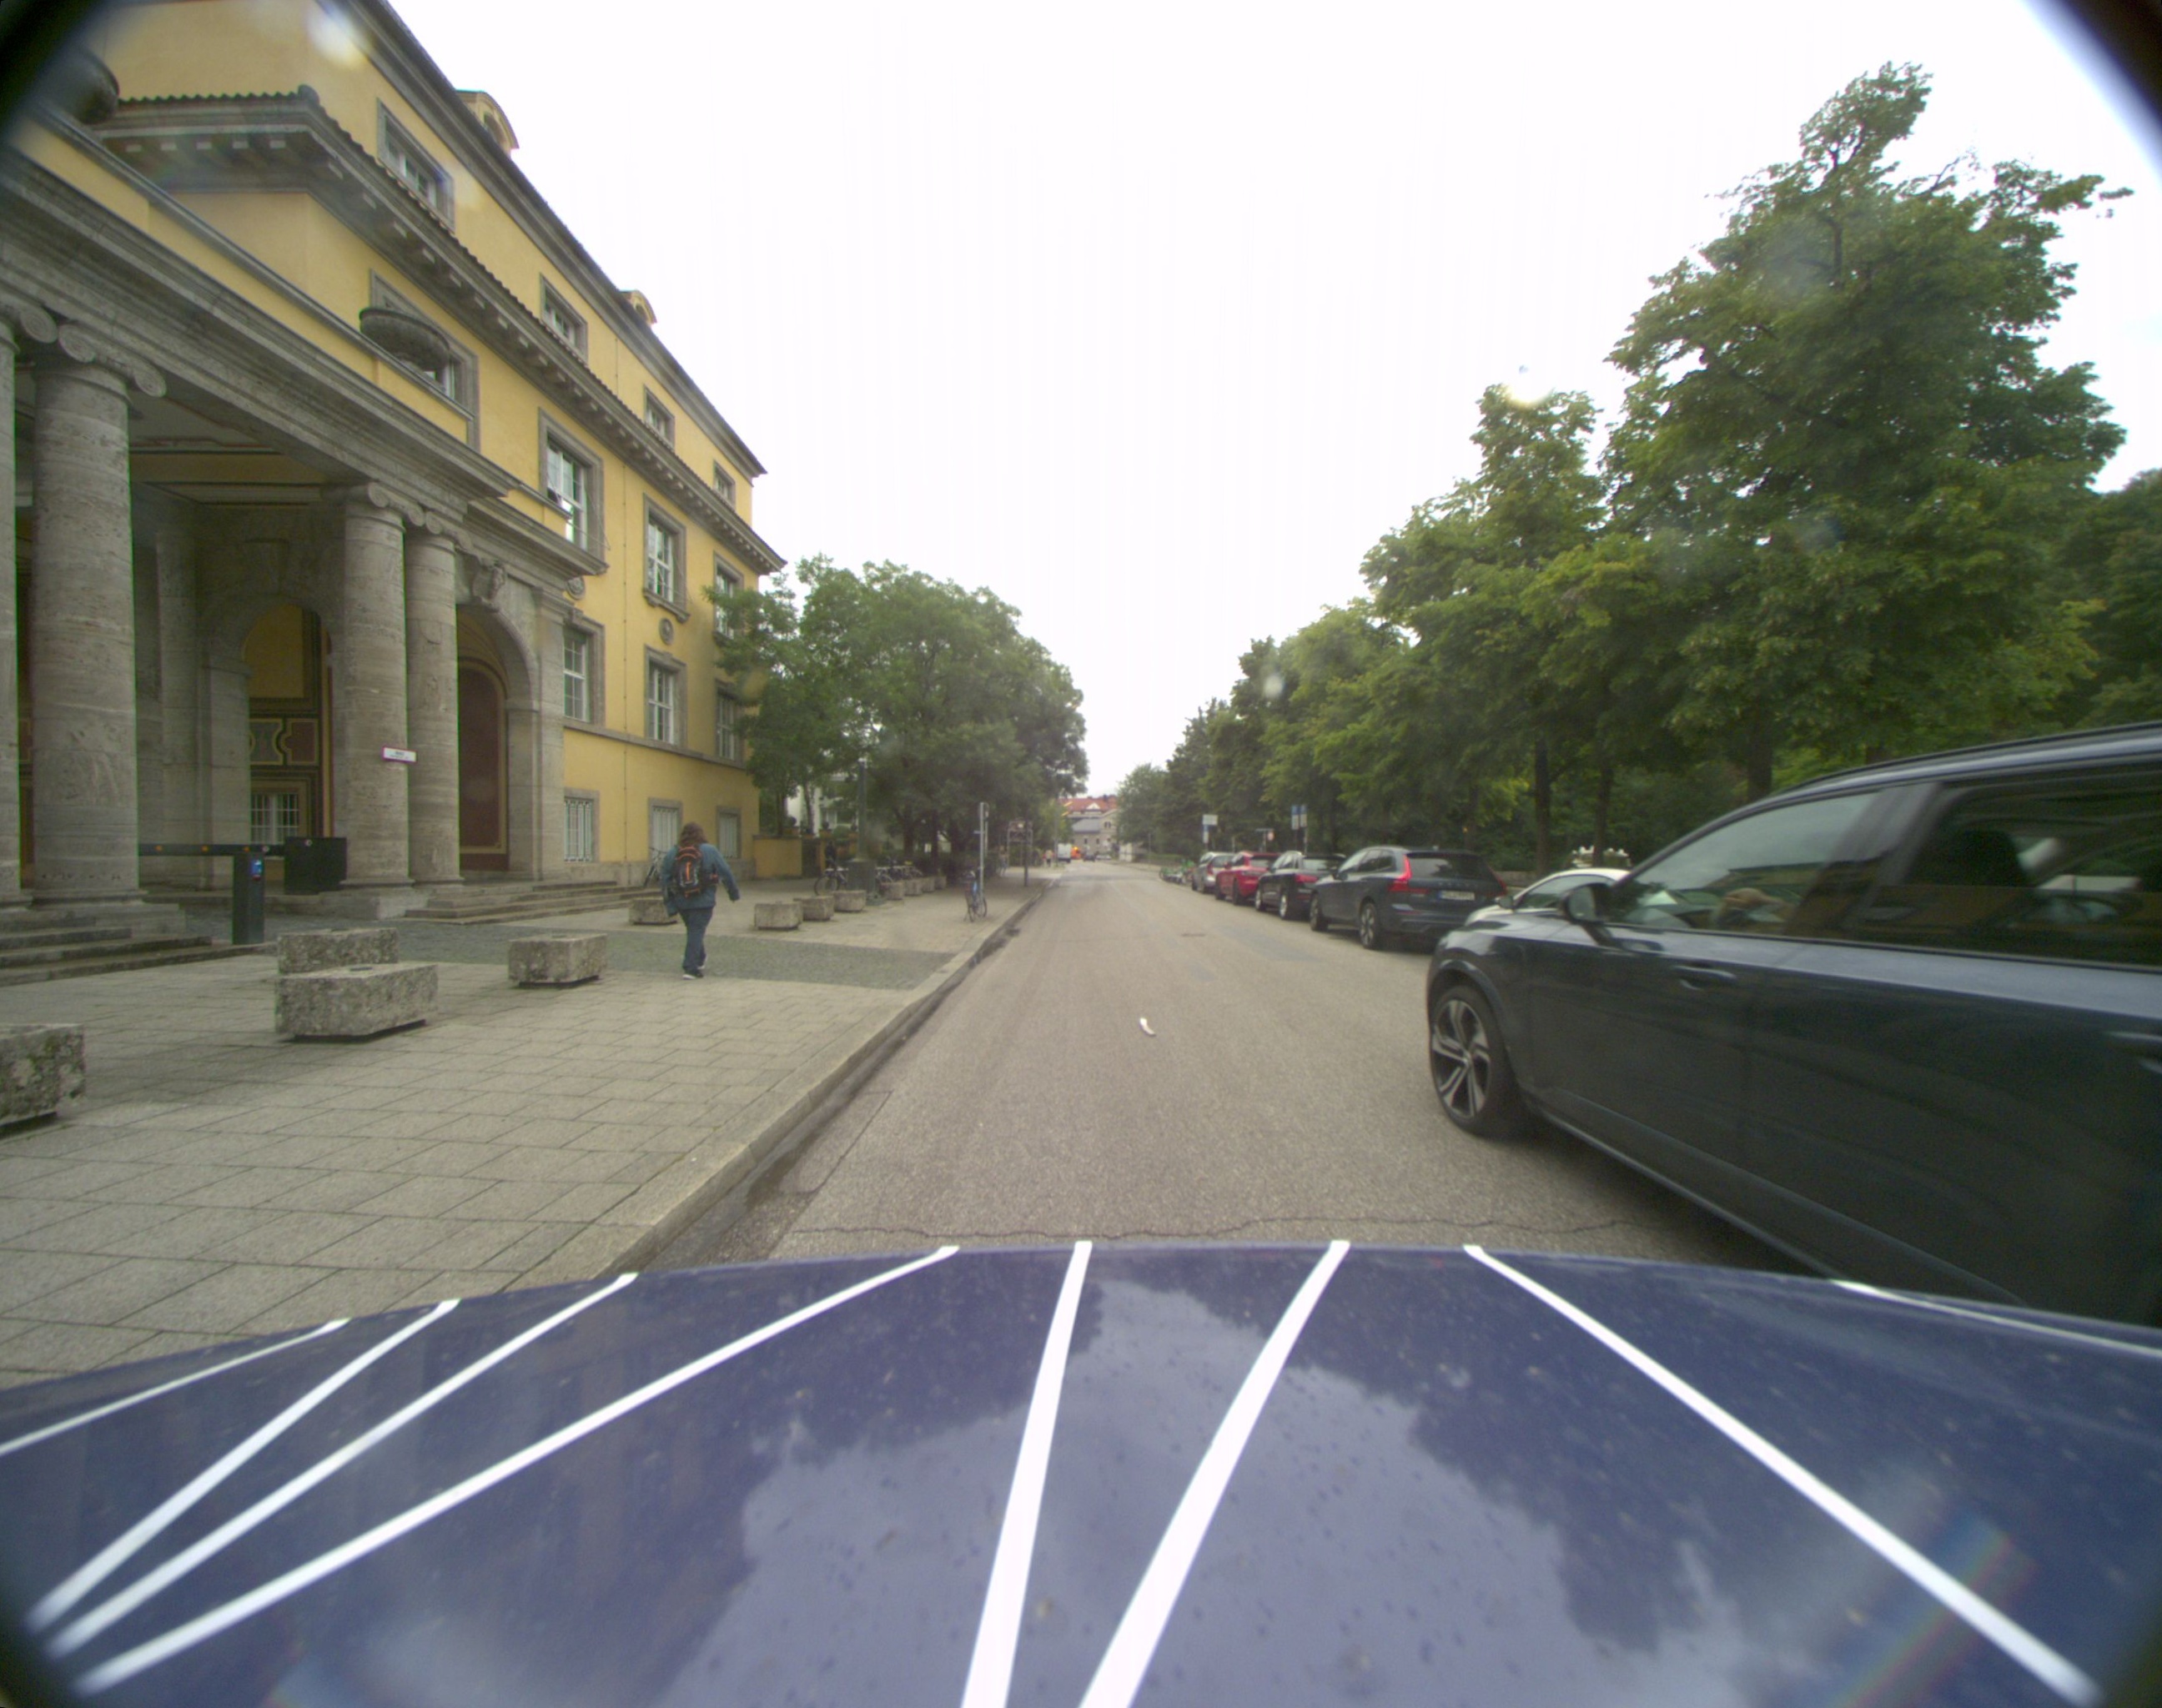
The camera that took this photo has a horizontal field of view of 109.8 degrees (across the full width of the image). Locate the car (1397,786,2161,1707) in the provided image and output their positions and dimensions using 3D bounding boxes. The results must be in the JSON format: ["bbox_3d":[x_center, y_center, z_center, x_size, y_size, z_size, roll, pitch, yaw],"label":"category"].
[{"bbox_3d":[2.906,0.741,2.204,1.965,1.672,4.912,2,1,1],"label":"car"}]

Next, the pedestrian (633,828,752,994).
[{"bbox_3d":[-4.312,0.598,8.508,0.790,1.736,1.055,1,1,0],"label":"pedestrian"}]

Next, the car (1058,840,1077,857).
[{"bbox_3d":[-1.853,-0.787,105.266,2.236,2.289,4.728,-3,1,-5],"label":"car"}]

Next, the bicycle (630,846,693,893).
[{"bbox_3d":[-12.331,0.417,22.421,0.601,1.299,2.264,1,1,0],"label":"bicycle"}]

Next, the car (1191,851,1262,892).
[{"bbox_3d":[5.627,0.620,29.937,1.998,1.452,4.364,1,0,1],"label":"car"}]

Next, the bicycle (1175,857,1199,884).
[{"bbox_3d":[5.137,0.793,36.745,0.574,1.275,1.421,-1,1,33],"label":"bicycle"}]

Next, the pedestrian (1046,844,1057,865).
[{"bbox_3d":[-2.613,0.049,66.941,0.777,1.855,0.997,-3,2,-6],"label":"pedestrian"}]

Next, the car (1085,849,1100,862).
[{"bbox_3d":[1.812,0.252,119.739,2.222,1.840,4.730,-3,1,0],"label":"car"}]

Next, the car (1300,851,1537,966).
[{"bbox_3d":[5.395,0.763,12.949,1.998,1.574,4.521,1,0,0],"label":"car"}]

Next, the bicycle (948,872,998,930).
[{"bbox_3d":[-2.353,0.991,16.762,0.762,1.094,2.263,2,1,-1],"label":"bicycle"}]

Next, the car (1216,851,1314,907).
[{"bbox_3d":[5.468,0.680,23.197,1.998,1.535,4.364,1,0,1],"label":"car"}]

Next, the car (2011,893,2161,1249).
[{"bbox_3d":[5.327,0.957,1.916,1.547,1.462,3.552,2,0,0],"label":"car"}]

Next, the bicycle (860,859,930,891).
[{"bbox_3d":[-6.545,0.740,26.765,2.262,1.005,0.602,2,0,3],"label":"bicycle"}]

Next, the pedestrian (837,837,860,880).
[{"bbox_3d":[-10.235,0.185,33.422,0.659,1.854,0.820,3,2,0],"label":"pedestrian"}]

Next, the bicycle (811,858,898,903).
[{"bbox_3d":[-6.464,0.756,21.785,2.265,1.088,0.601,5,1,-11],"label":"bicycle"}]

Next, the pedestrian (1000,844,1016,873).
[{"bbox_3d":[-4.424,0.285,45.984,0.798,1.722,0.660,-3,2,-1],"label":"pedestrian"}]

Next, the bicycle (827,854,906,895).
[{"bbox_3d":[-6.667,0.645,23.697,2.265,1.053,0.601,5,1,-11],"label":"bicycle"}]

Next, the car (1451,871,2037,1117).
[{"bbox_3d":[5.339,0.957,7.065,1.762,1.392,4.217,3,0,2],"label":"car"}]

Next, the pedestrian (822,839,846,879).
[{"bbox_3d":[-10.952,0.201,33.706,0.741,1.734,0.841,3,2,0],"label":"pedestrian"}]

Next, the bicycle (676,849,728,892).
[{"bbox_3d":[-12.318,0.509,24.780,0.601,1.299,2.164,1,1,0],"label":"bicycle"}]

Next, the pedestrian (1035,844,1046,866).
[{"bbox_3d":[-3.565,0.089,67.112,0.777,1.855,0.996,-3,2,-8],"label":"pedestrian"}]

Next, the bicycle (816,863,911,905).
[{"bbox_3d":[-5.900,0.816,20.730,2.370,1.000,0.677,3,0,-8],"label":"bicycle"}]

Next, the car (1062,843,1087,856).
[{"bbox_3d":[-1.466,-0.949,168.128,4.973,2.521,2.578,-1,2,44],"label":"car"}]

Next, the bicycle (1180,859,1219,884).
[{"bbox_3d":[5.486,0.801,35.217,1.700,1.101,0.598,0,1,-8],"label":"bicycle"}]

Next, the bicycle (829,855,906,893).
[{"bbox_3d":[-6.886,0.643,24.609,2.265,1.018,0.601,5,1,-11],"label":"bicycle"}]

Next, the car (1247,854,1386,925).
[{"bbox_3d":[5.489,0.755,18.429,1.998,1.452,4.647,1,0,1],"label":"car"}]

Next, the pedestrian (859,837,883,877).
[{"bbox_3d":[-10.185,0.124,36.858,0.782,1.854,1.035,3,2,0],"label":"pedestrian"}]
